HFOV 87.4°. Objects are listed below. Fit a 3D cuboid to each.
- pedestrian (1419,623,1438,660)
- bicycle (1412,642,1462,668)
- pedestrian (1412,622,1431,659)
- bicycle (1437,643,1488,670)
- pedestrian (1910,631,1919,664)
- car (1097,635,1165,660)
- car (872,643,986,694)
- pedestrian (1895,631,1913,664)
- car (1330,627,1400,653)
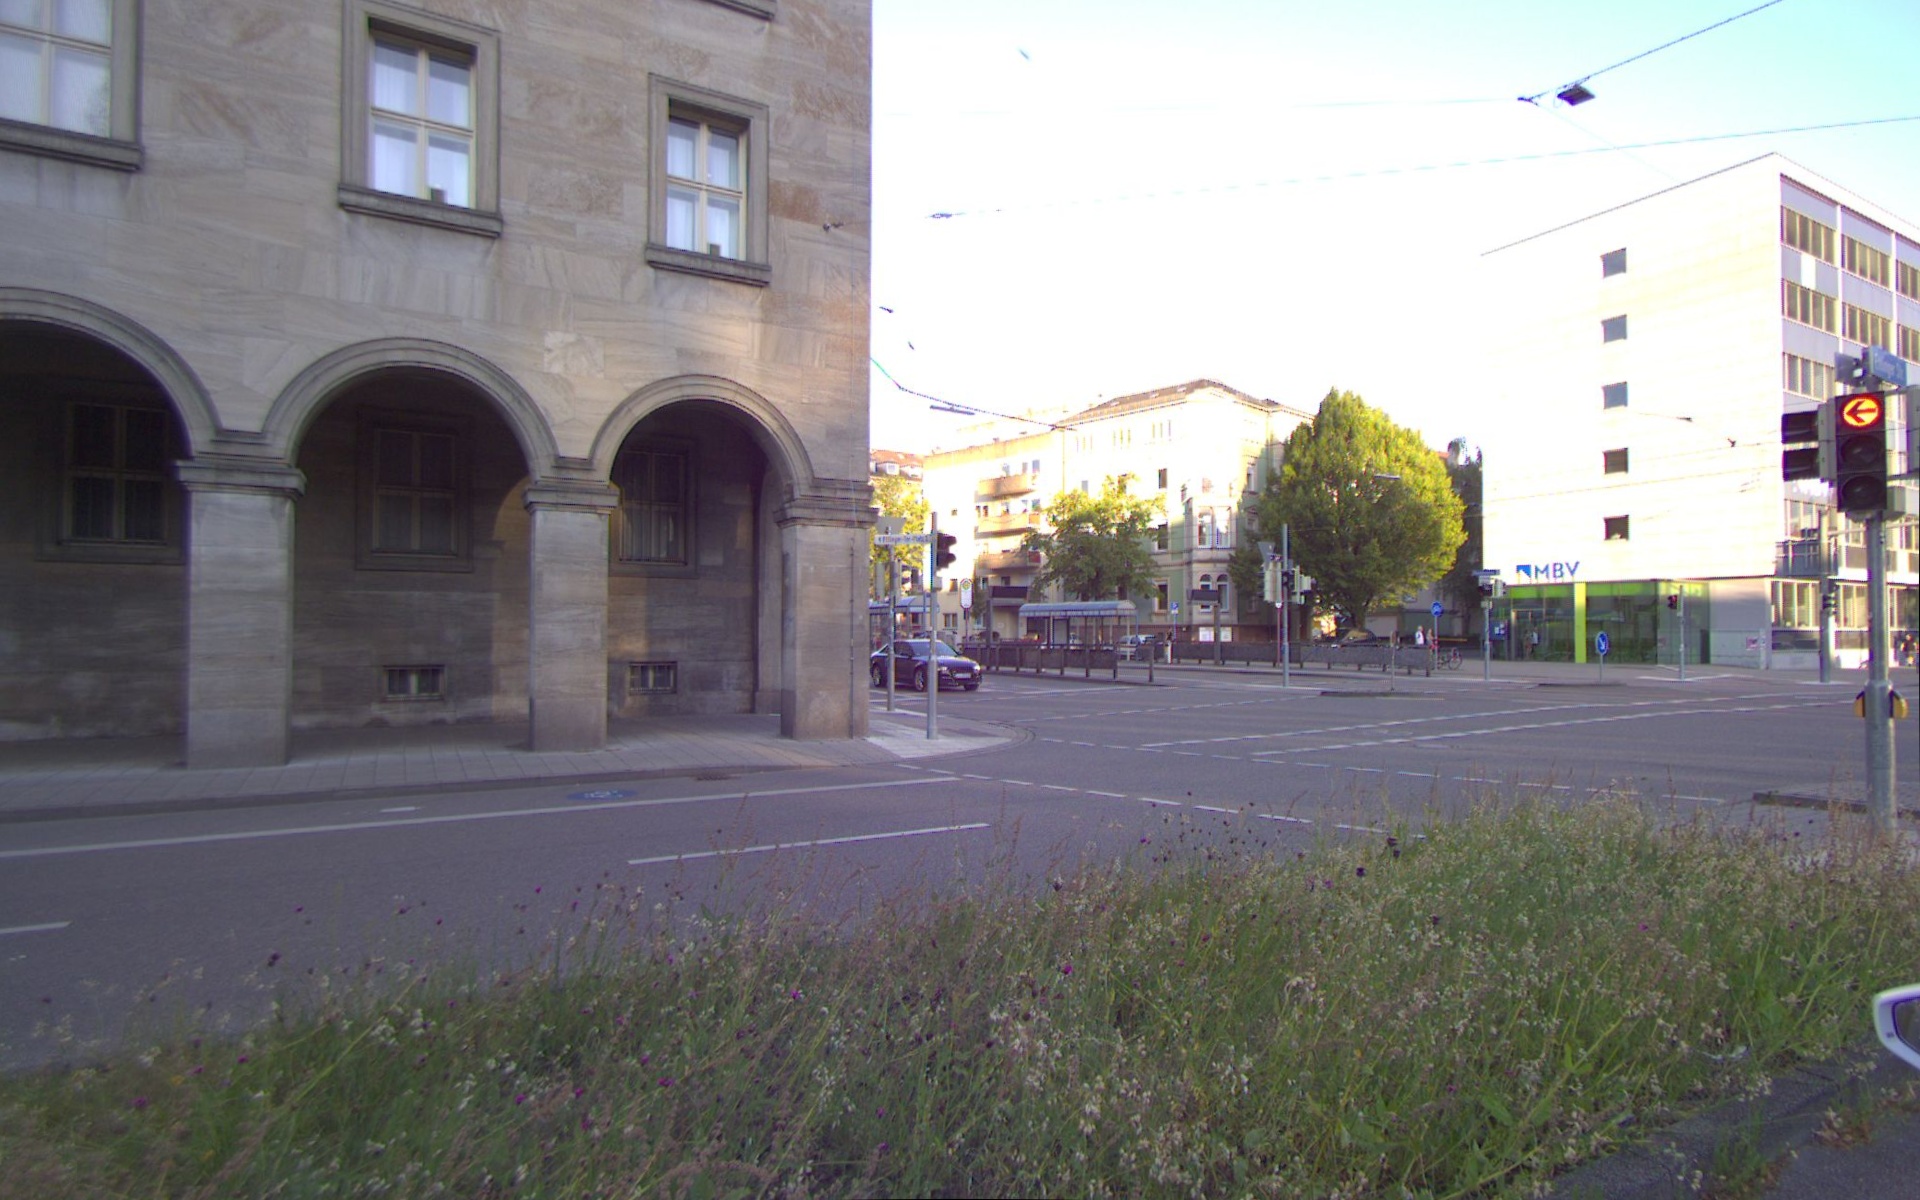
[{"bbox_3d":[23.590,2.088,50.597,0.718,1.813,0.634,2,-2,-43],"label":"pedestrian"},{"bbox_3d":[21.153,2.430,44.546,2.183,1.127,0.834,1,-2,-26],"label":"bicycle"},{"bbox_3d":[22.974,2.016,50.053,0.718,1.813,0.634,2,-2,-44],"label":"pedestrian"},{"bbox_3d":[21.703,2.433,43.394,2.183,1.127,0.834,1,-2,-26],"label":"bicycle"},{"bbox_3d":[50.113,2.484,52.480,0.494,1.701,0.549,1,-2,-30],"label":"pedestrian"},{"bbox_3d":[10.045,2.770,59.183,3.545,1.390,1.830,-2,-3,45],"label":"car"},{"bbox_3d":[-0.997,1.975,29.701,1.791,1.344,4.120,1,-2,-27],"label":"car"},{"bbox_3d":[49.248,2.458,52.423,0.494,1.701,0.549,1,-2,-30],"label":"pedestrian"},{"bbox_3d":[22.191,2.187,55.037,3.553,1.390,1.826,1,-2,-32],"label":"car"}]
